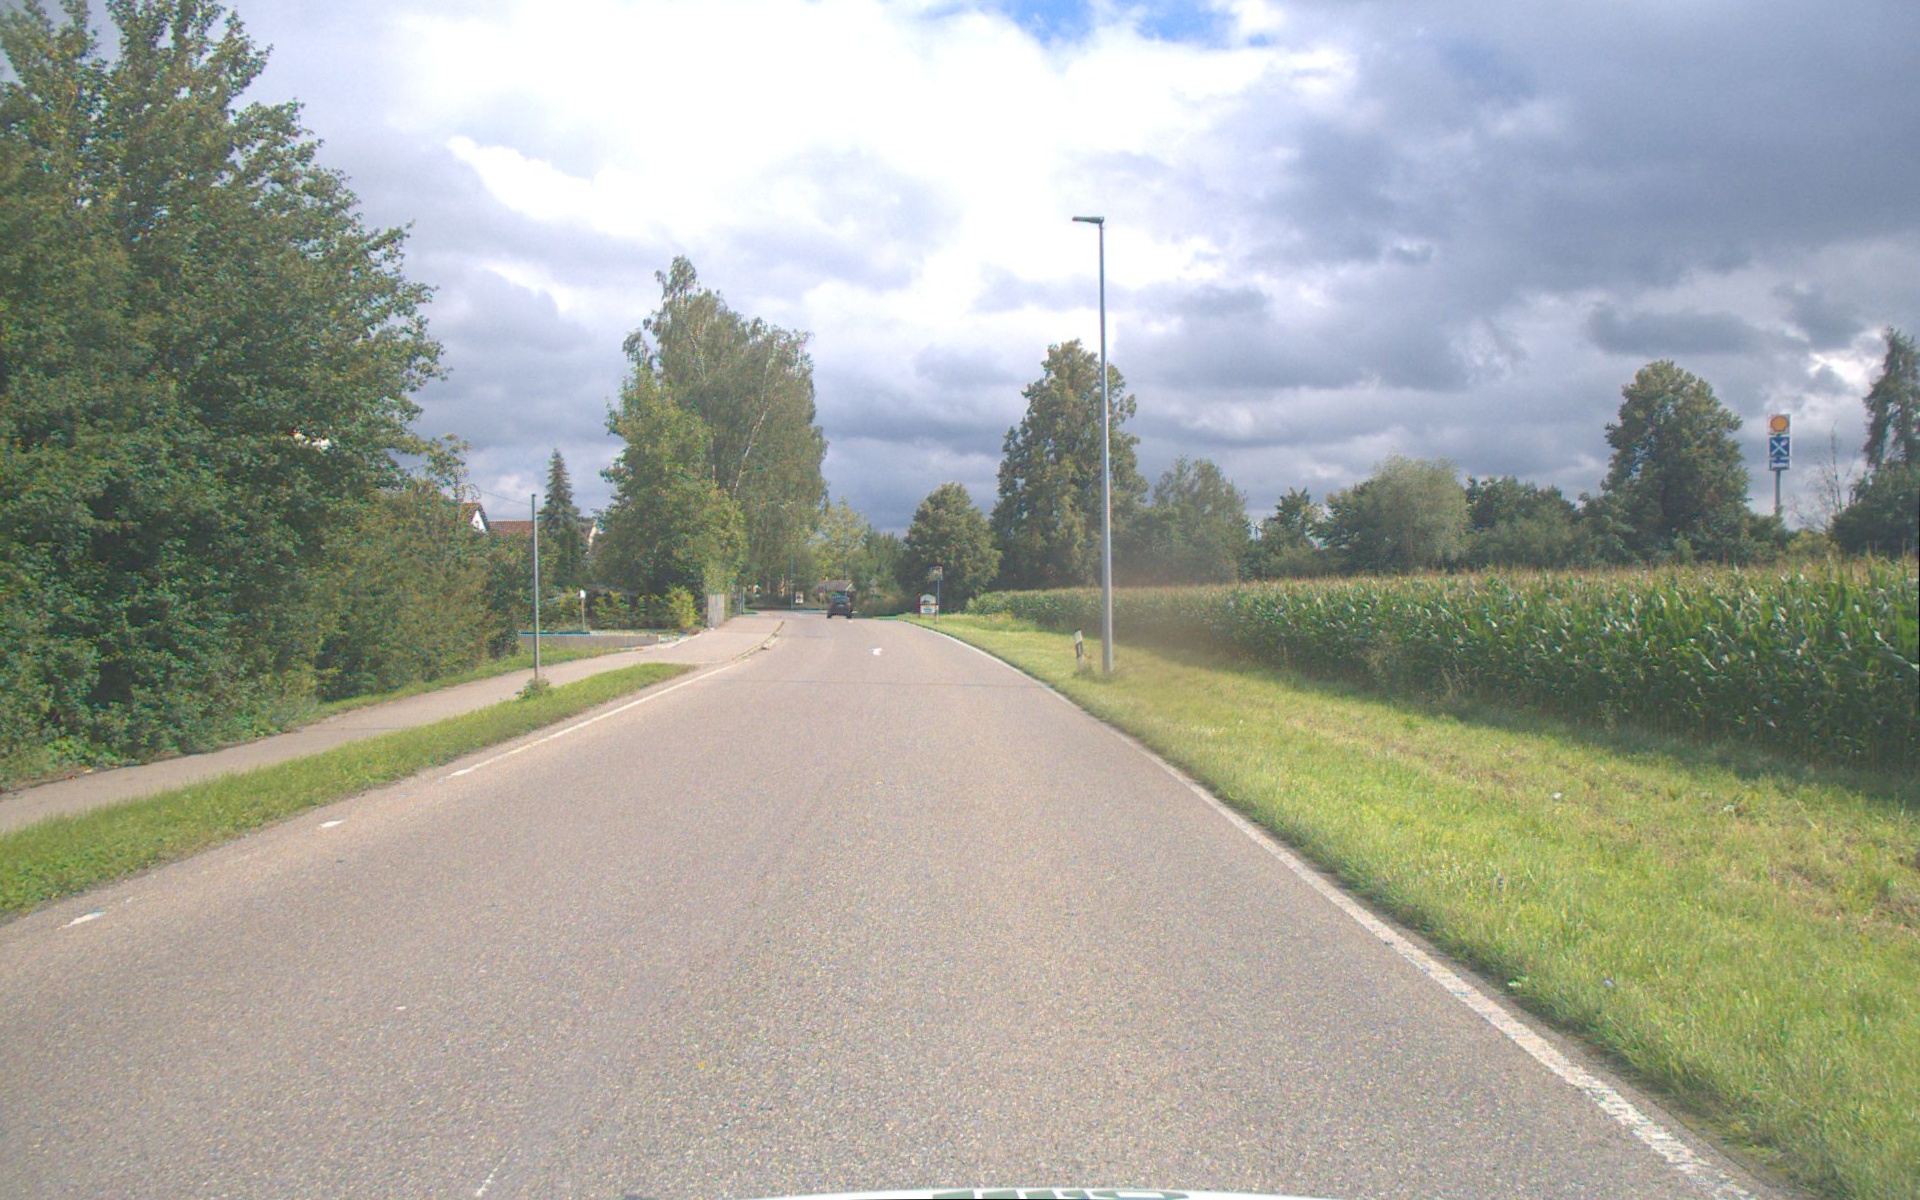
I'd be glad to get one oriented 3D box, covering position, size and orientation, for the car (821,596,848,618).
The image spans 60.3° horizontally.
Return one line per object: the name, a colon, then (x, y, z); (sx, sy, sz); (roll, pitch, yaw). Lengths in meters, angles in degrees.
car: (-9.877, 0.548, 129.760); (1.955, 1.613, 3.995); (2, -1, -6)
